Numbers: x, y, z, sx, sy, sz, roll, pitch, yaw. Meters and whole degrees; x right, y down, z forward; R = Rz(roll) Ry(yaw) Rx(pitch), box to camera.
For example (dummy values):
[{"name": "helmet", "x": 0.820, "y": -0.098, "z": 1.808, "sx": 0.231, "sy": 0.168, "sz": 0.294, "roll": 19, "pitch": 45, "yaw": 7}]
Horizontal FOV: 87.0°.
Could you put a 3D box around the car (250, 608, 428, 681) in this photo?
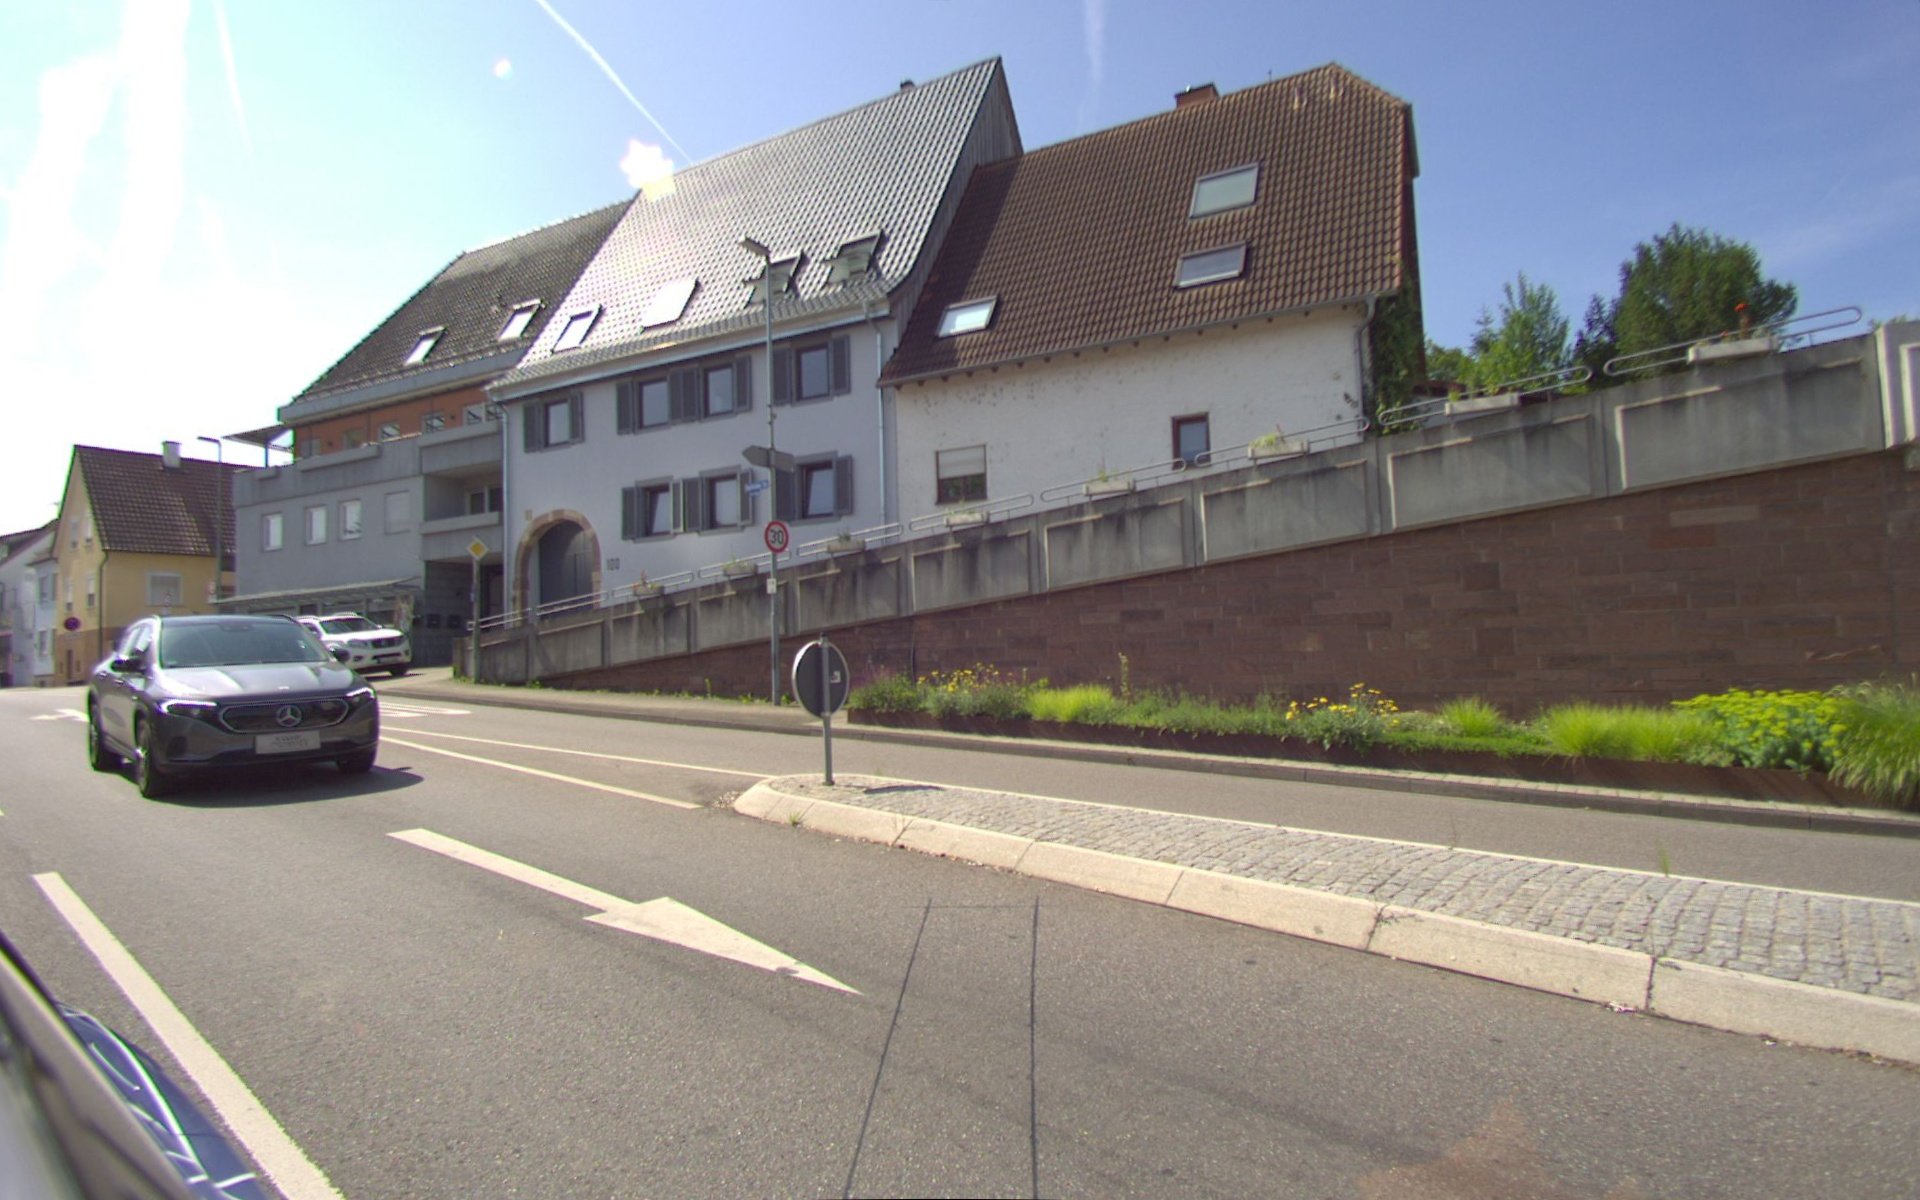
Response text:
[{"name": "car", "x": -16.809, "y": 1.208, "z": 27.318, "sx": 5.263, "sy": 1.812, "sz": 1.792, "roll": -2, "pitch": -2, "yaw": 29}]

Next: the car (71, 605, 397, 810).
[{"name": "car", "x": -7.328, "y": 0.908, "z": 10.036, "sx": 4.288, "sy": 1.585, "sz": 1.715, "roll": -2, "pitch": -1, "yaw": 42}]
